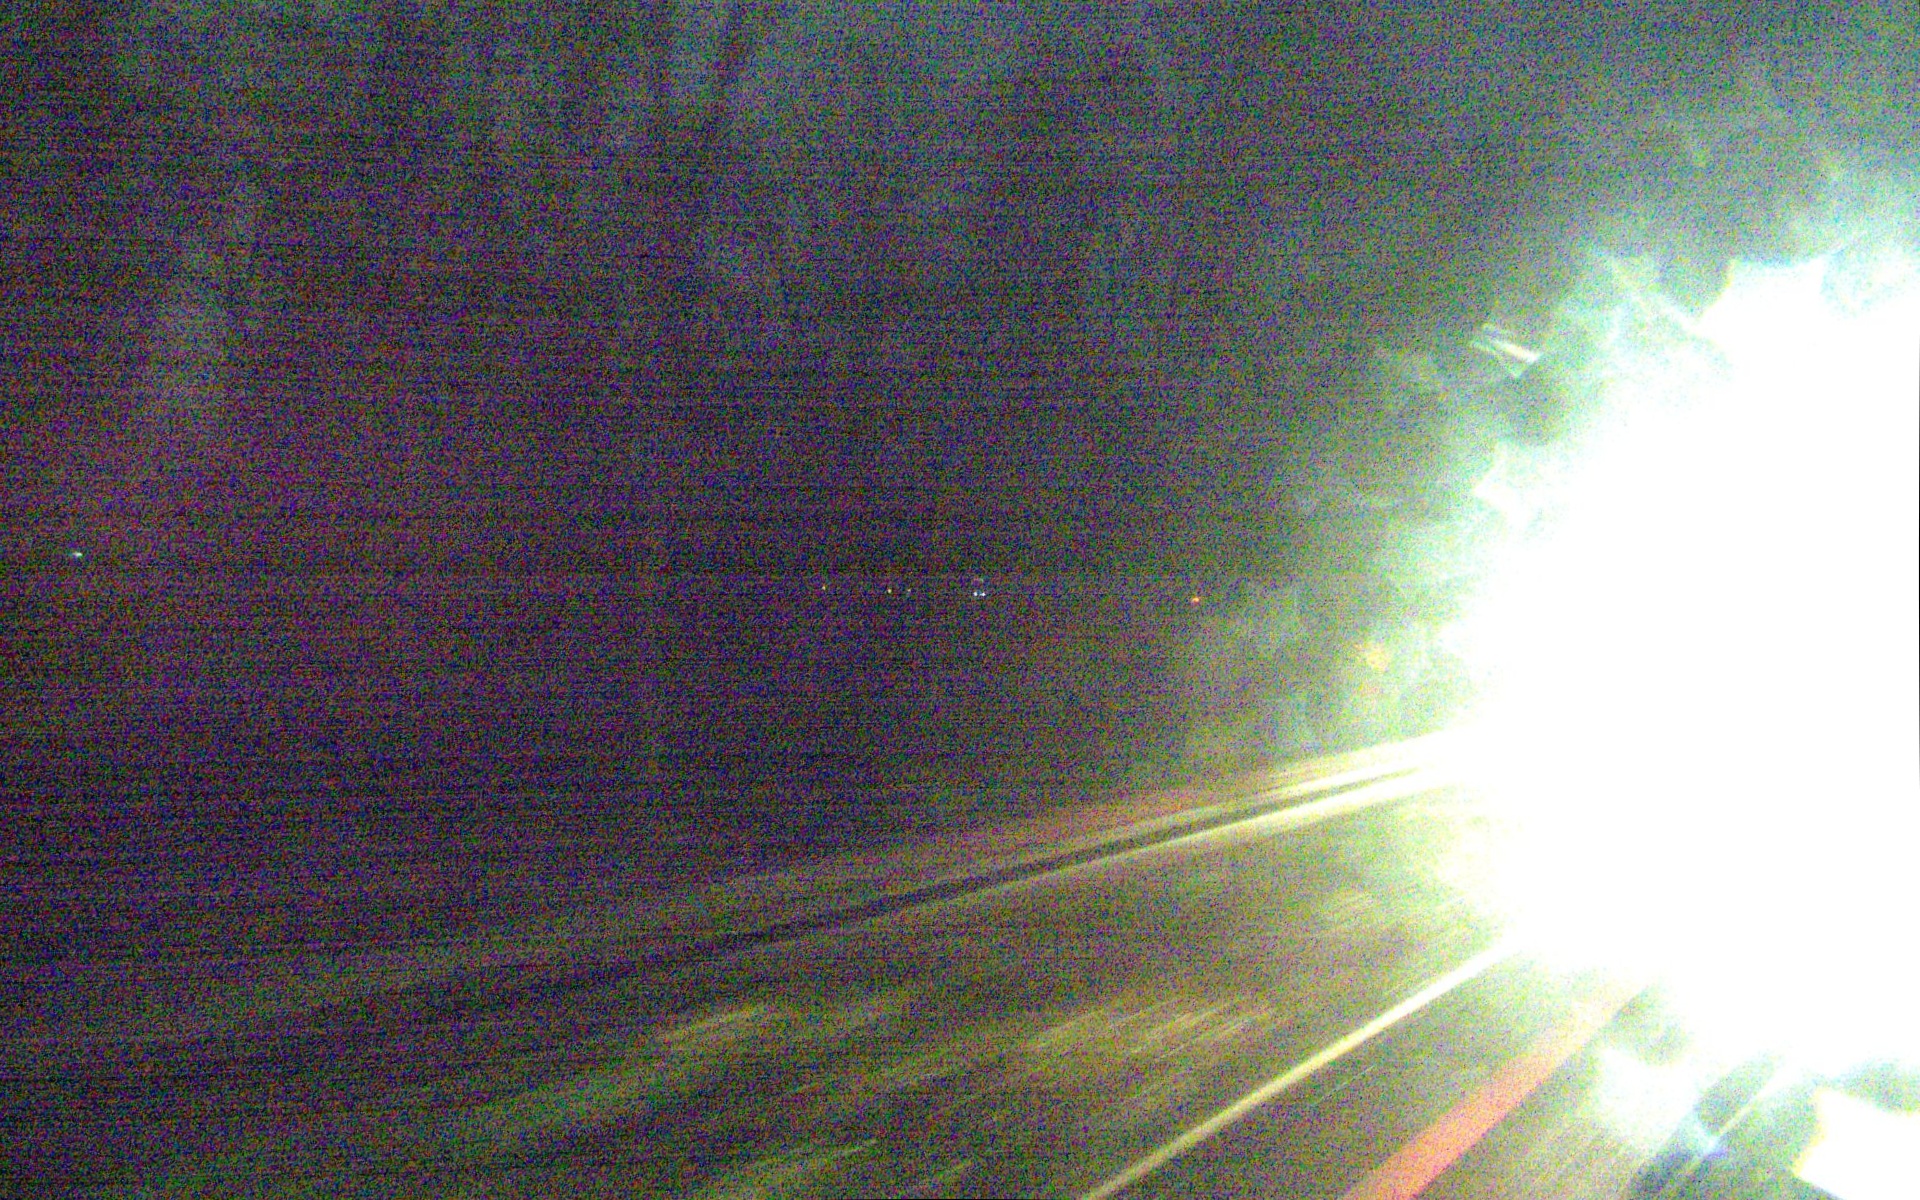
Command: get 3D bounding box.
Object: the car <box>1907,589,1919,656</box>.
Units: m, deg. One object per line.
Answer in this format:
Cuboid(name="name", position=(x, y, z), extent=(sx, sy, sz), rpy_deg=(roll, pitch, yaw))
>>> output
Cuboid(name="car", position=(24.176, 0.504, 24.343), extent=(1.842, 1.467, 3.818), rpy_deg=(-1, 1, 41))
